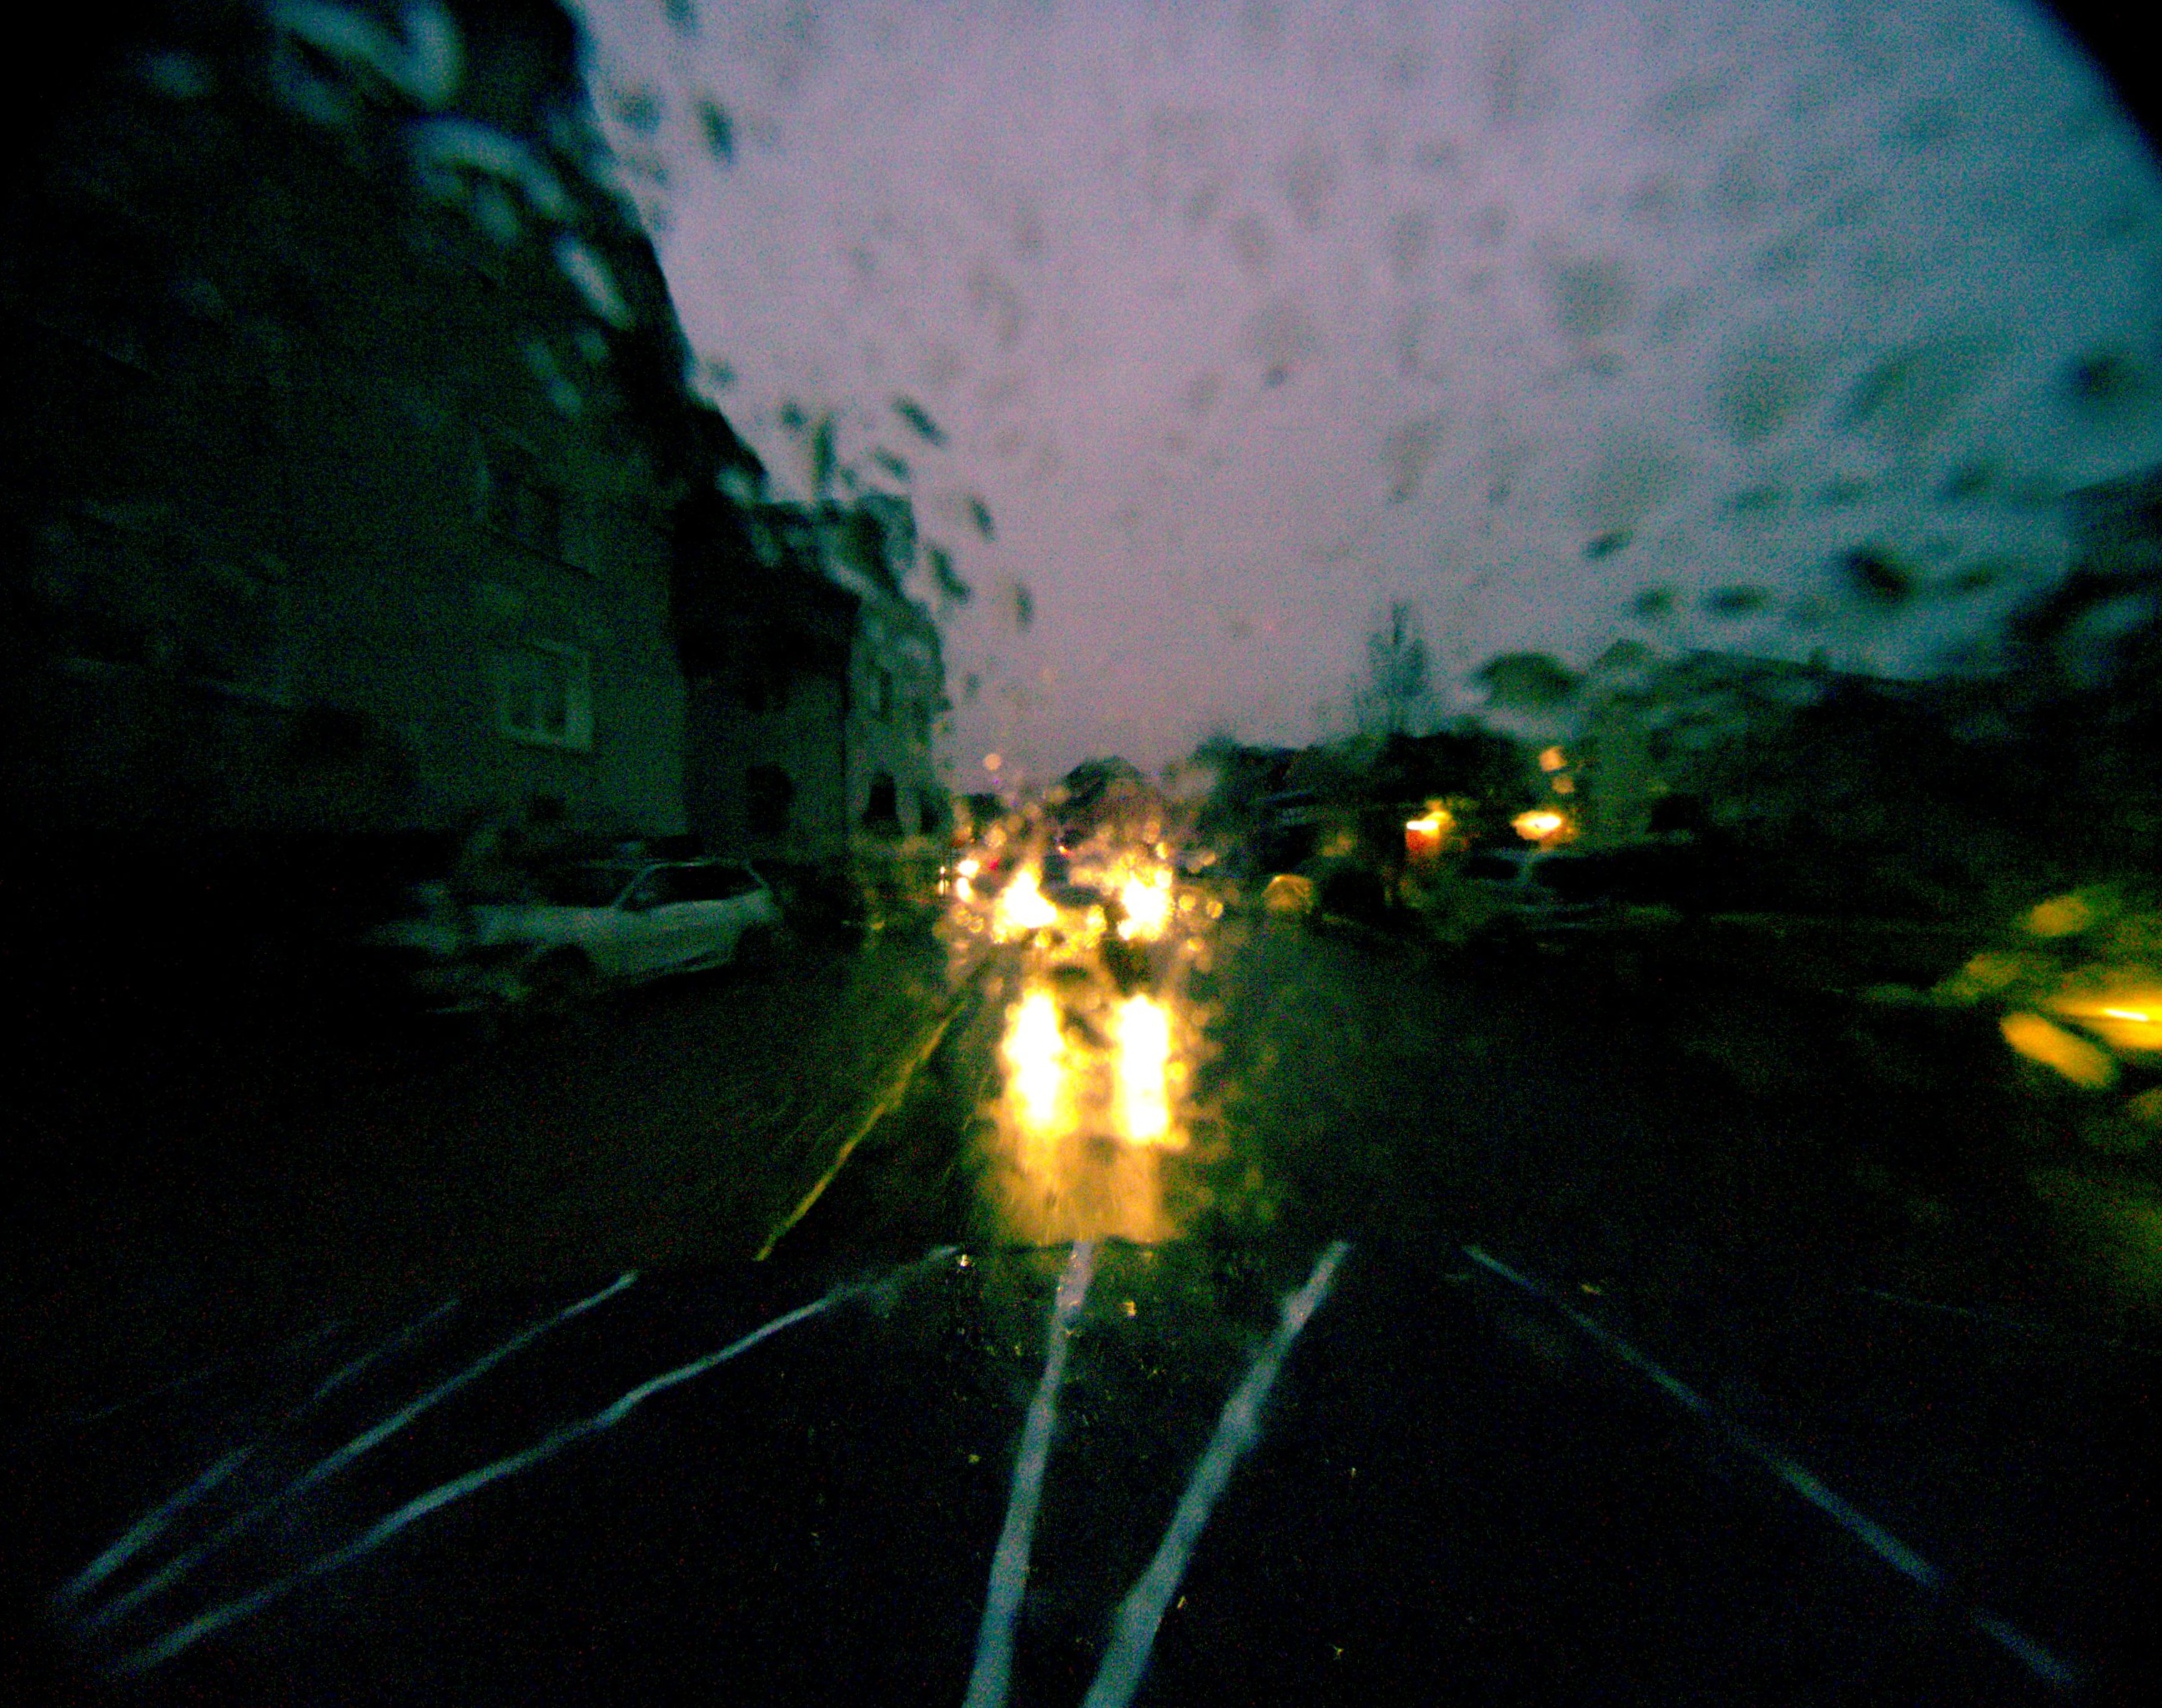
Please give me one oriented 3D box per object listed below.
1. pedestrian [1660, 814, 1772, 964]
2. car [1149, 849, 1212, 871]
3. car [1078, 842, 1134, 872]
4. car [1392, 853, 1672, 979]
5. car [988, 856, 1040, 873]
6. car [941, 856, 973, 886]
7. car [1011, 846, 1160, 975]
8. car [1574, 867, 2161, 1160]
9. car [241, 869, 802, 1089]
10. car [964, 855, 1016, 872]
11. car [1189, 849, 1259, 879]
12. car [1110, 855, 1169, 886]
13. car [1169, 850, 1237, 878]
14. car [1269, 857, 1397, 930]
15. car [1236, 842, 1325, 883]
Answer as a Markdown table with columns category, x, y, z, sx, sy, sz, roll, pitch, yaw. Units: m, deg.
| category | x | y | z | sx | sy | sz | roll | pitch | yaw |
| --- | --- | --- | --- | --- | --- | --- | --- | --- | --- |
| pedestrian | 8.820 | 0.478 | 10.592 | 0.902 | 2.002 | 0.791 | -1 | 0 | 10 |
| car | 6.462 | 0.396 | 49.669 | 3.995 | 1.291 | 2.001 | -2 | 1 | 6 |
| car | 1.847 | 0.220 | 56.545 | 3.997 | 2.002 | 2.000 | -2 | 1 | 1 |
| car | 6.546 | 0.784 | 11.570 | 1.880 | 1.526 | 3.670 | -2 | 1 | -4 |
| car | -5.778 | 0.878 | 65.454 | 4.005 | 1.291 | 1.996 | -2 | 1 | -26 |
| car | -8.805 | 1.154 | 53.664 | 2.000 | 2.002 | 3.996 | -2 | 0 | -12 |
| car | 0.072 | 0.771 | 12.489 | 1.998 | 1.720 | 4.000 | -2 | 0 | 0 |
| car | 6.274 | 0.878 | 6.185 | 1.698 | 1.423 | 4.377 | -2 | 0 | 1 |
| car | -5.104 | 0.993 | 8.026 | 1.933 | 1.476 | 4.699 | -2 | 0 | 9 |
| car | -8.225 | 0.856 | 68.655 | 4.251 | 1.291 | 1.996 | -2 | 1 | -25 |
| car | 8.233 | 0.561 | 44.012 | 3.839 | 1.537 | 2.001 | -2 | 1 | 8 |
| car | 3.034 | 0.835 | 40.139 | 1.983 | 1.438 | 3.909 | -2 | 0 | -14 |
| car | 7.496 | 0.614 | 46.705 | 3.994 | 1.538 | 2.001 | -2 | 1 | 11 |
| car | 6.167 | 0.891 | 19.141 | 1.840 | 1.526 | 4.139 | -2 | 0 | 0 |
| car | 9.532 | 0.409 | 36.438 | 3.993 | 1.753 | 1.435 | -3 | 1 | 15 |
